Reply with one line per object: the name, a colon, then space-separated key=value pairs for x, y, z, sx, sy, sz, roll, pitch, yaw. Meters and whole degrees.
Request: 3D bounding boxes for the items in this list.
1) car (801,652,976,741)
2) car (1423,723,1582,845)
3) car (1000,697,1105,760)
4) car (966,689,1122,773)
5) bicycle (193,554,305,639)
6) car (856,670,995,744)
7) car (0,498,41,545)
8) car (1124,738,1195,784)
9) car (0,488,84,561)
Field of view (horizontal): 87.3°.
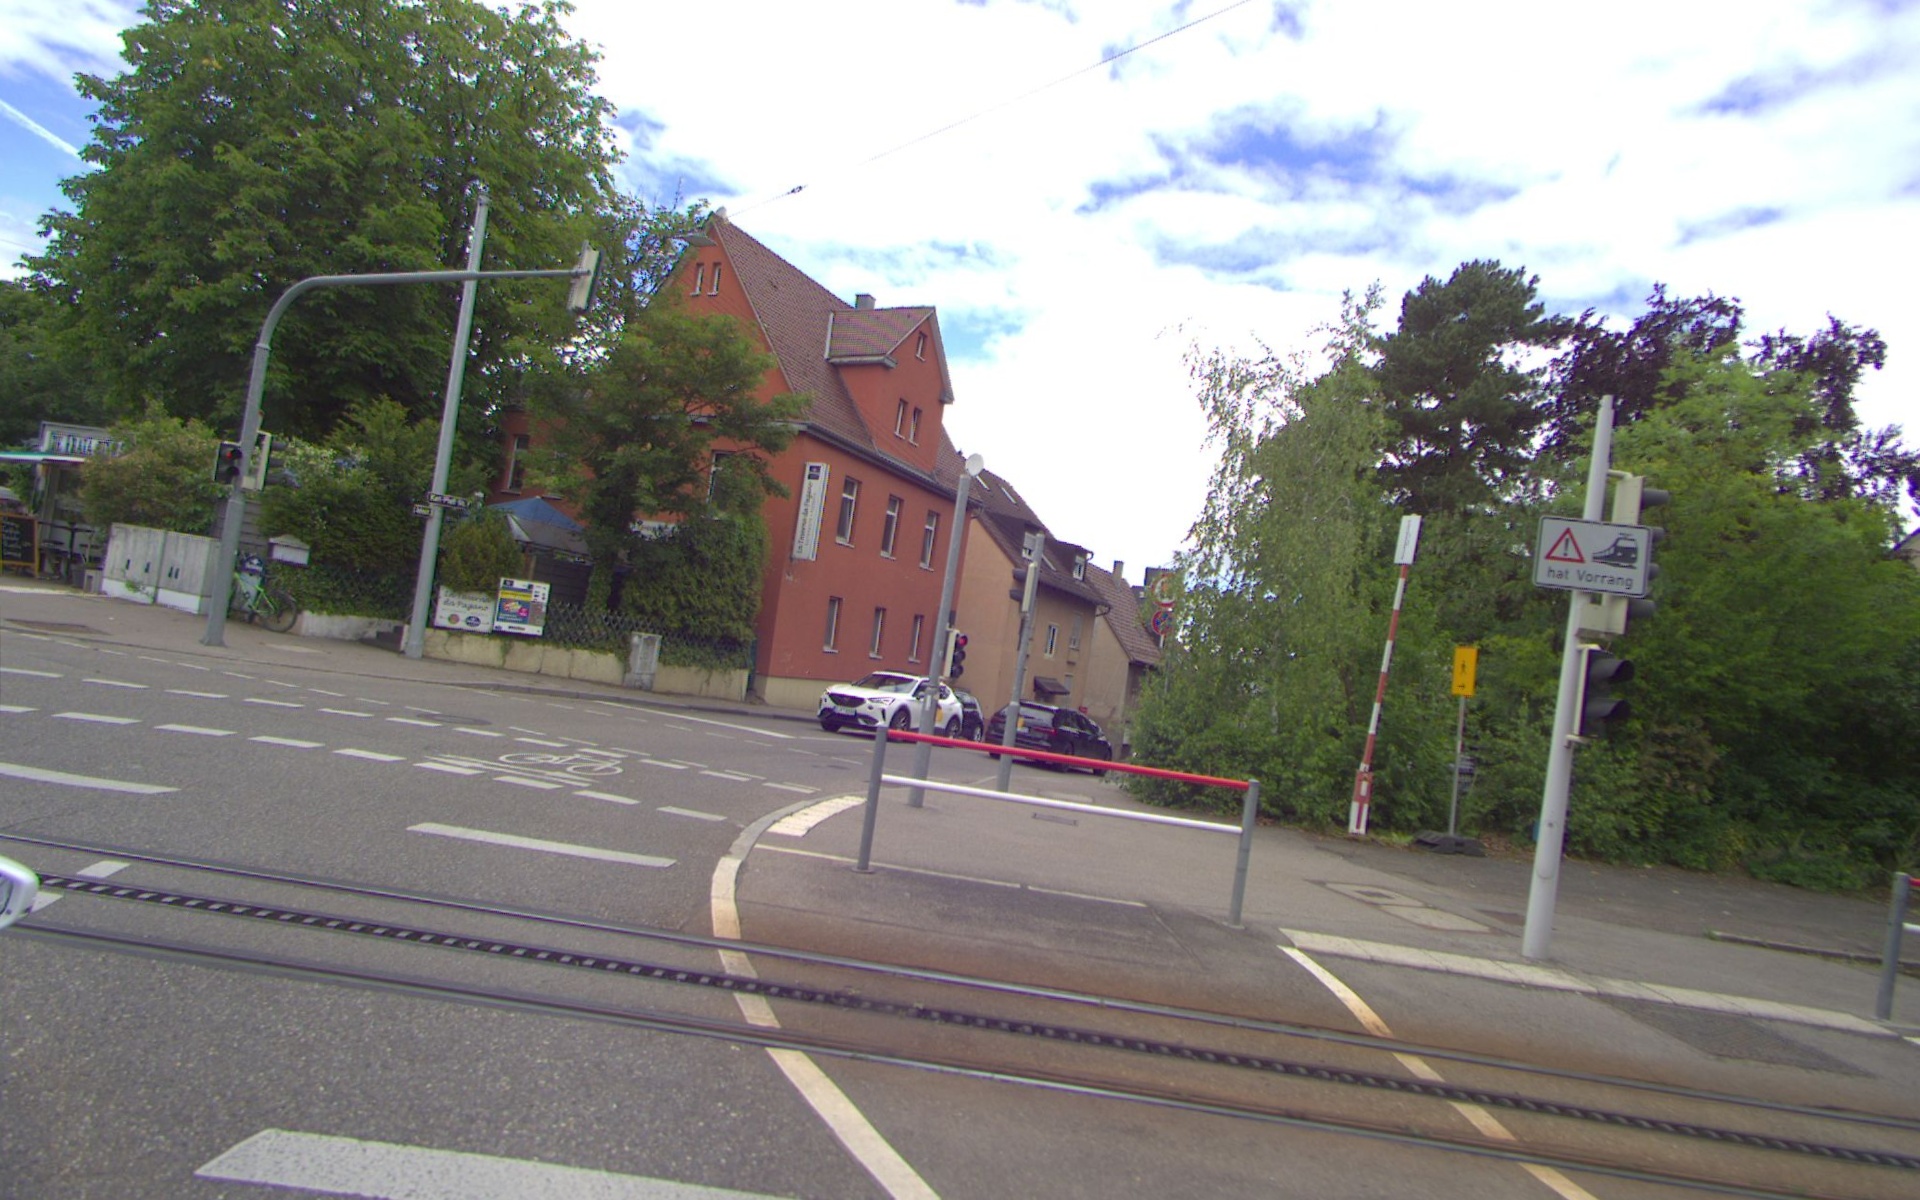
car: x=-1.431 y=2.181 z=22.230 sx=1.963 sy=1.478 sz=4.526 roll=8 pitch=-4 yaw=21
car: x=9.191 y=3.059 z=17.307 sx=1.965 sy=1.478 sz=4.523 roll=7 pitch=-4 yaw=27
car: x=3.002 y=4.091 z=31.626 sx=1.963 sy=1.477 sz=4.531 roll=8 pitch=-6 yaw=21
car: x=2.079 y=3.066 z=23.501 sx=1.965 sy=1.478 sz=4.523 roll=7 pitch=-4 yaw=27
bicycle: x=-12.897 y=-0.070 z=18.243 sx=1.843 sy=1.151 sz=0.550 roll=12 pitch=-1 yaw=20
car: x=-0.839 y=3.053 z=28.122 sx=1.964 sy=1.477 sz=4.529 roll=7 pitch=-6 yaw=24
car: x=-34.433 y=-2.968 z=34.548 sx=1.846 sy=1.493 sz=4.004 roll=9 pitch=-3 yaw=0
car: x=8.663 y=6.986 z=43.513 sx=1.964 sy=1.566 sz=4.008 roll=7 pitch=-6 yaw=25
car: x=-25.675 y=-2.103 z=26.763 sx=1.827 sy=1.768 sz=4.675 roll=9 pitch=-2 yaw=-20
